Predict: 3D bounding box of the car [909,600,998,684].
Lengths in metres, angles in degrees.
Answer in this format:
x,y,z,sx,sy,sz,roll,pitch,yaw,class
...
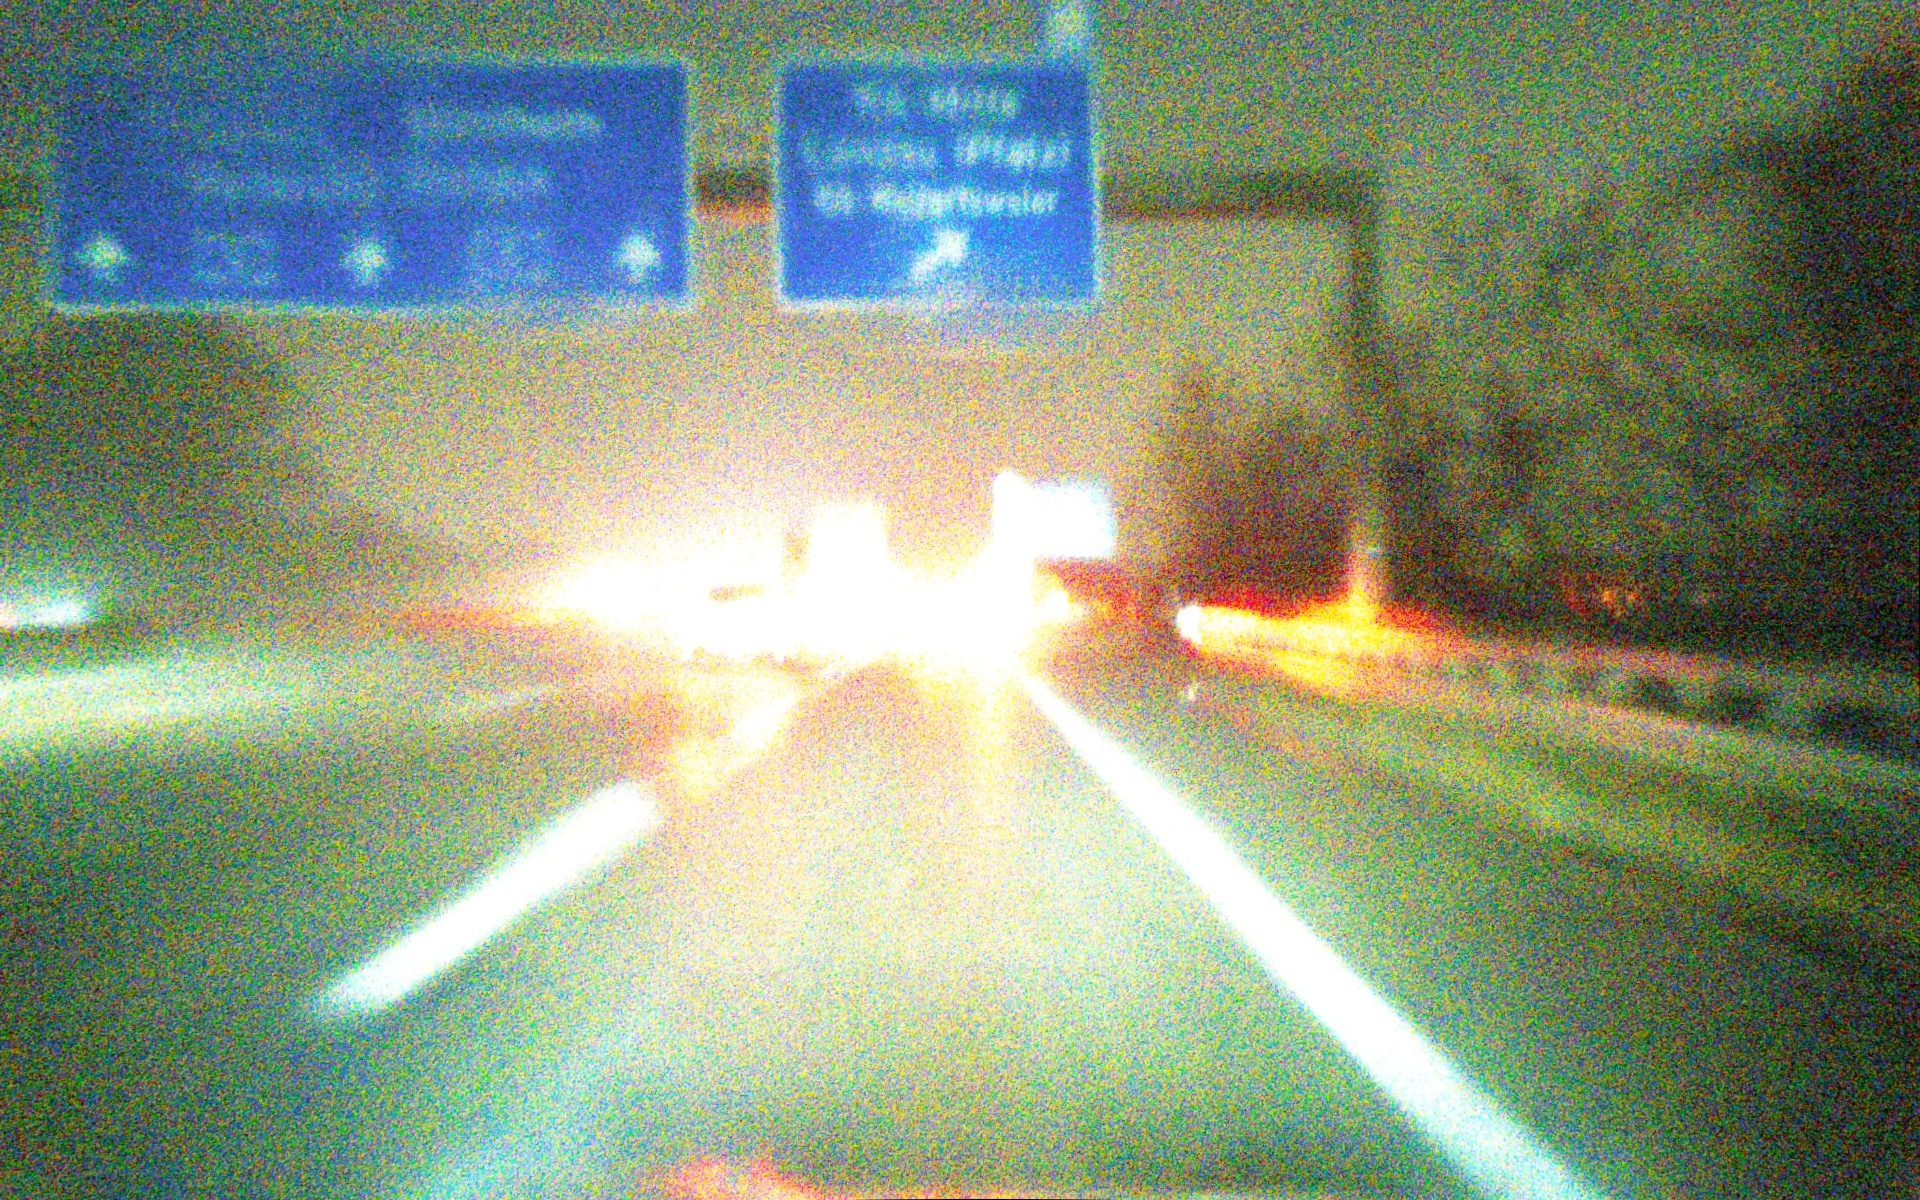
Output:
x,y,z,sx,sy,sz,roll,pitch,yaw,class
-0.170,0.942,38.839,1.953,1.839,3.999,1,0,-1,car

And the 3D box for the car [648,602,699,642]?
x,y,z,sx,sy,sz,roll,pitch,yaw,class
-12.372,0.942,71.561,1.956,1.624,3.994,1,0,-7,car

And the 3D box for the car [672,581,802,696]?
x,y,z,sx,sy,sz,roll,pitch,yaw,class
-4.275,0.707,32.367,2.083,2.049,4.643,1,0,-3,car

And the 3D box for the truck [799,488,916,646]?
x,y,z,sx,sy,sz,roll,pitch,yaw,class
-3.932,-1.206,66.719,4.125,5.747,11.464,1,0,-1,truck

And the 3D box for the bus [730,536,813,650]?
x,y,z,sx,sy,sz,roll,pitch,yaw,class
-8.199,-0.281,73.107,3.036,4.587,10.904,1,0,-4,bus
